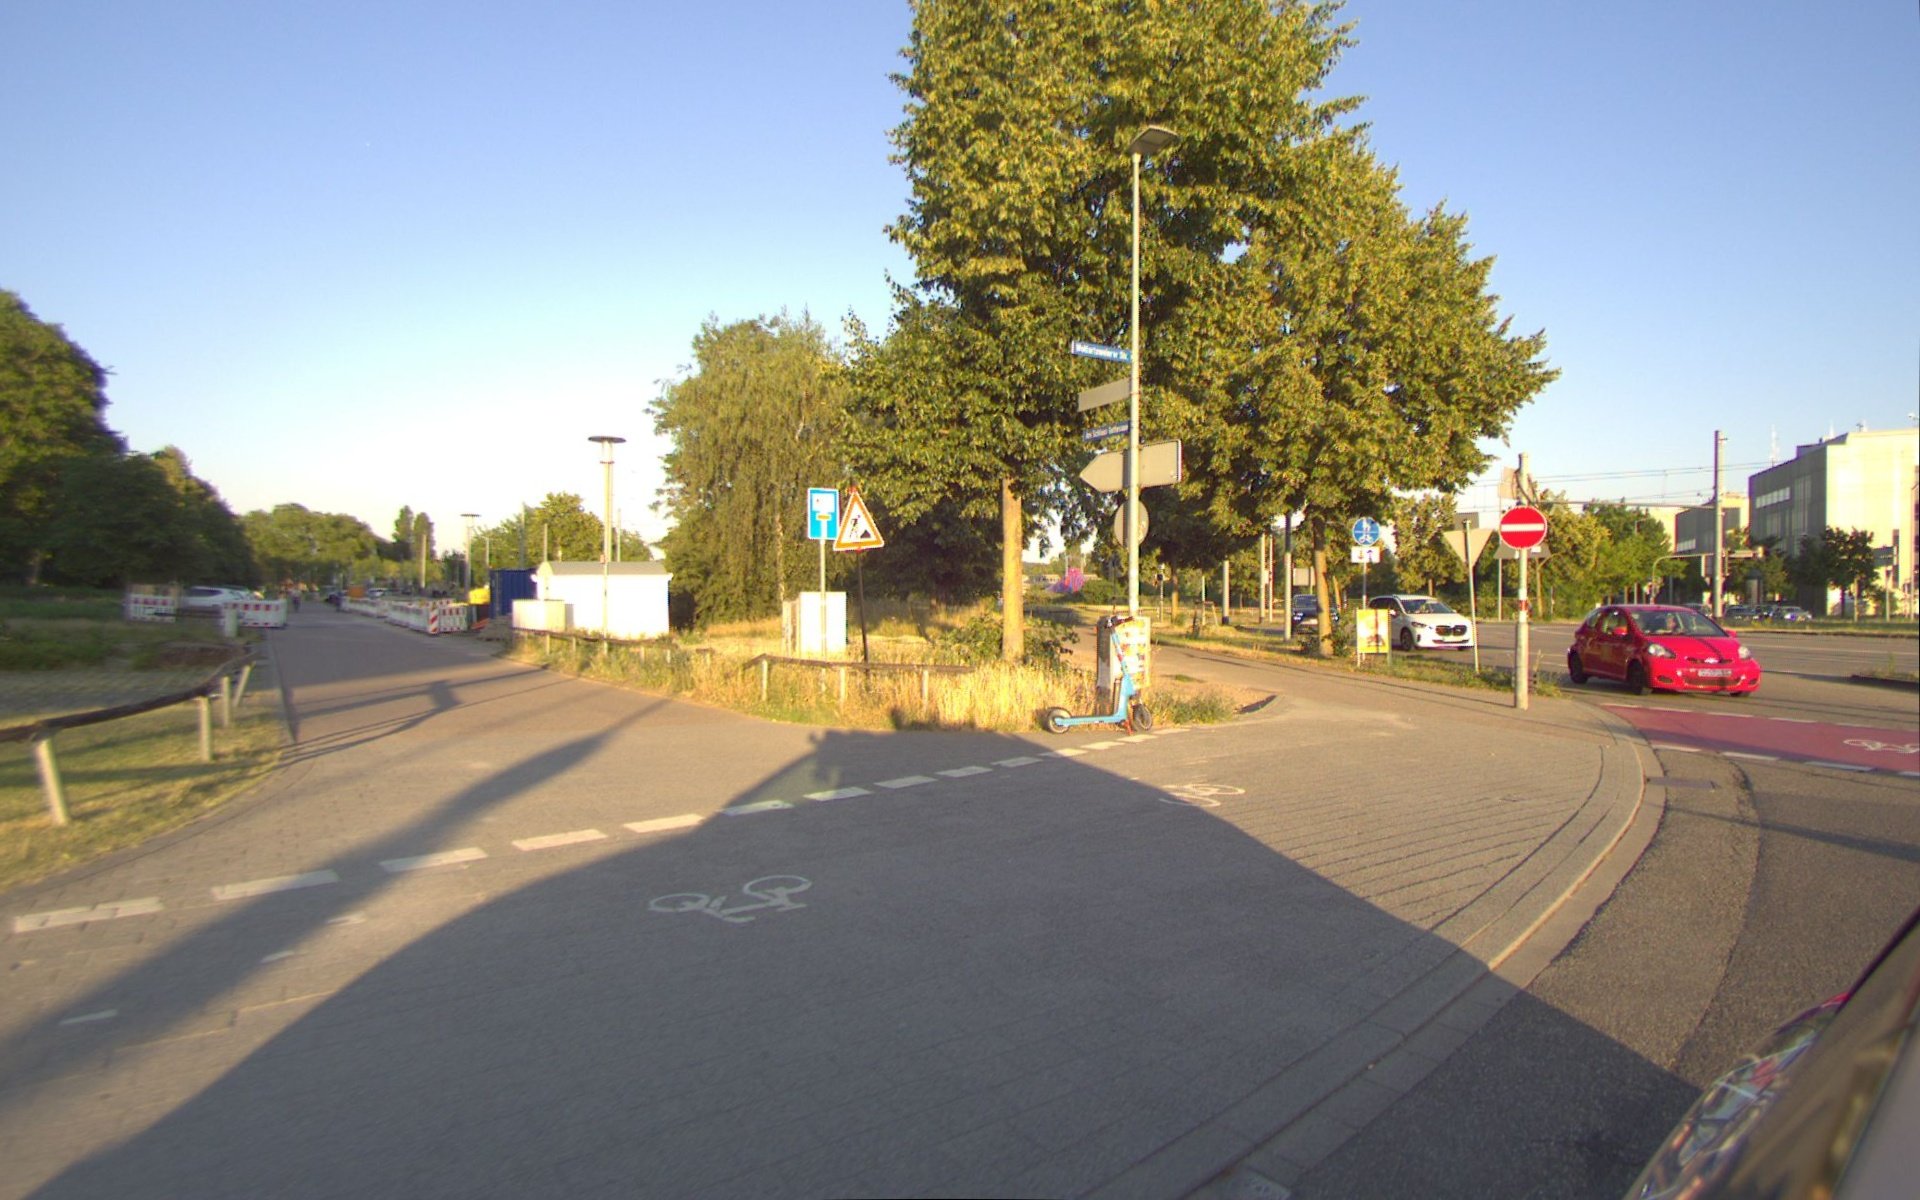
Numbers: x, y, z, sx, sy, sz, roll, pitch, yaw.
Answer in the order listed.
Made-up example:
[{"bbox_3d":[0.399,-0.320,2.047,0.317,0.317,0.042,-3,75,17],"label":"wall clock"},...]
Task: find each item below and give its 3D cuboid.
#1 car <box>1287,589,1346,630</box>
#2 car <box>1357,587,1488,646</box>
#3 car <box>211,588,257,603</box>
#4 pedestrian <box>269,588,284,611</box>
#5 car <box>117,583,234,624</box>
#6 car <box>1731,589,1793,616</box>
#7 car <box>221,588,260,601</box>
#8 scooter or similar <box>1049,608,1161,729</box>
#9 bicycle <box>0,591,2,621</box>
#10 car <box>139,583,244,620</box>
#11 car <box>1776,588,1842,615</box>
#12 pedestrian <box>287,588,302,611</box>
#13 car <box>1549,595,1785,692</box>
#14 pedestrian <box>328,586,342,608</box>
[{"bbox_3d":[14.366,0.343,40.971,1.764,1.576,4.392,-1,0,13],"label":"car"},{"bbox_3d":[13.355,0.424,29.550,1.757,1.576,4.409,-1,0,0],"label":"car"},{"bbox_3d":[-80.204,-0.504,111.866,4.117,1.629,1.730,0,0,-37],"label":"car"},{"bbox_3d":[-46.196,-0.020,68.387,0.824,1.547,1.039,0,0,-37],"label":"pedestrian"},{"bbox_3d":[-35.378,0.124,45.782,4.117,1.780,1.730,0,0,-37],"label":"car"},{"bbox_3d":[39.890,0.093,50.419,1.604,1.266,3.779,0,0,26],"label":"car"},{"bbox_3d":[-93.375,-0.724,131.328,4.117,1.629,1.730,0,0,-37],"label":"car"},{"bbox_3d":[1.530,0.723,10.737,1.142,1.252,0.196,-1,0,1],"label":"scooter or similar"},{"bbox_3d":[-31.061,0.195,31.462,1.760,0.929,0.793,0,1,-34],"label":"bicycle"},{"bbox_3d":[-38.129,0.070,50.317,4.117,1.780,1.730,0,0,-37],"label":"car"},{"bbox_3d":[41.602,0.045,49.680,1.604,1.285,3.779,0,0,26],"label":"car"},{"bbox_3d":[-45.401,-0.048,69.015,0.824,1.547,1.039,0,0,-37],"label":"pedestrian"},{"bbox_3d":[11.867,0.644,17.377,1.594,1.430,4.397,-1,0,10],"label":"car"},{"bbox_3d":[-44.528,-0.197,72.067,0.785,1.547,0.626,0,0,-38],"label":"pedestrian"}]
